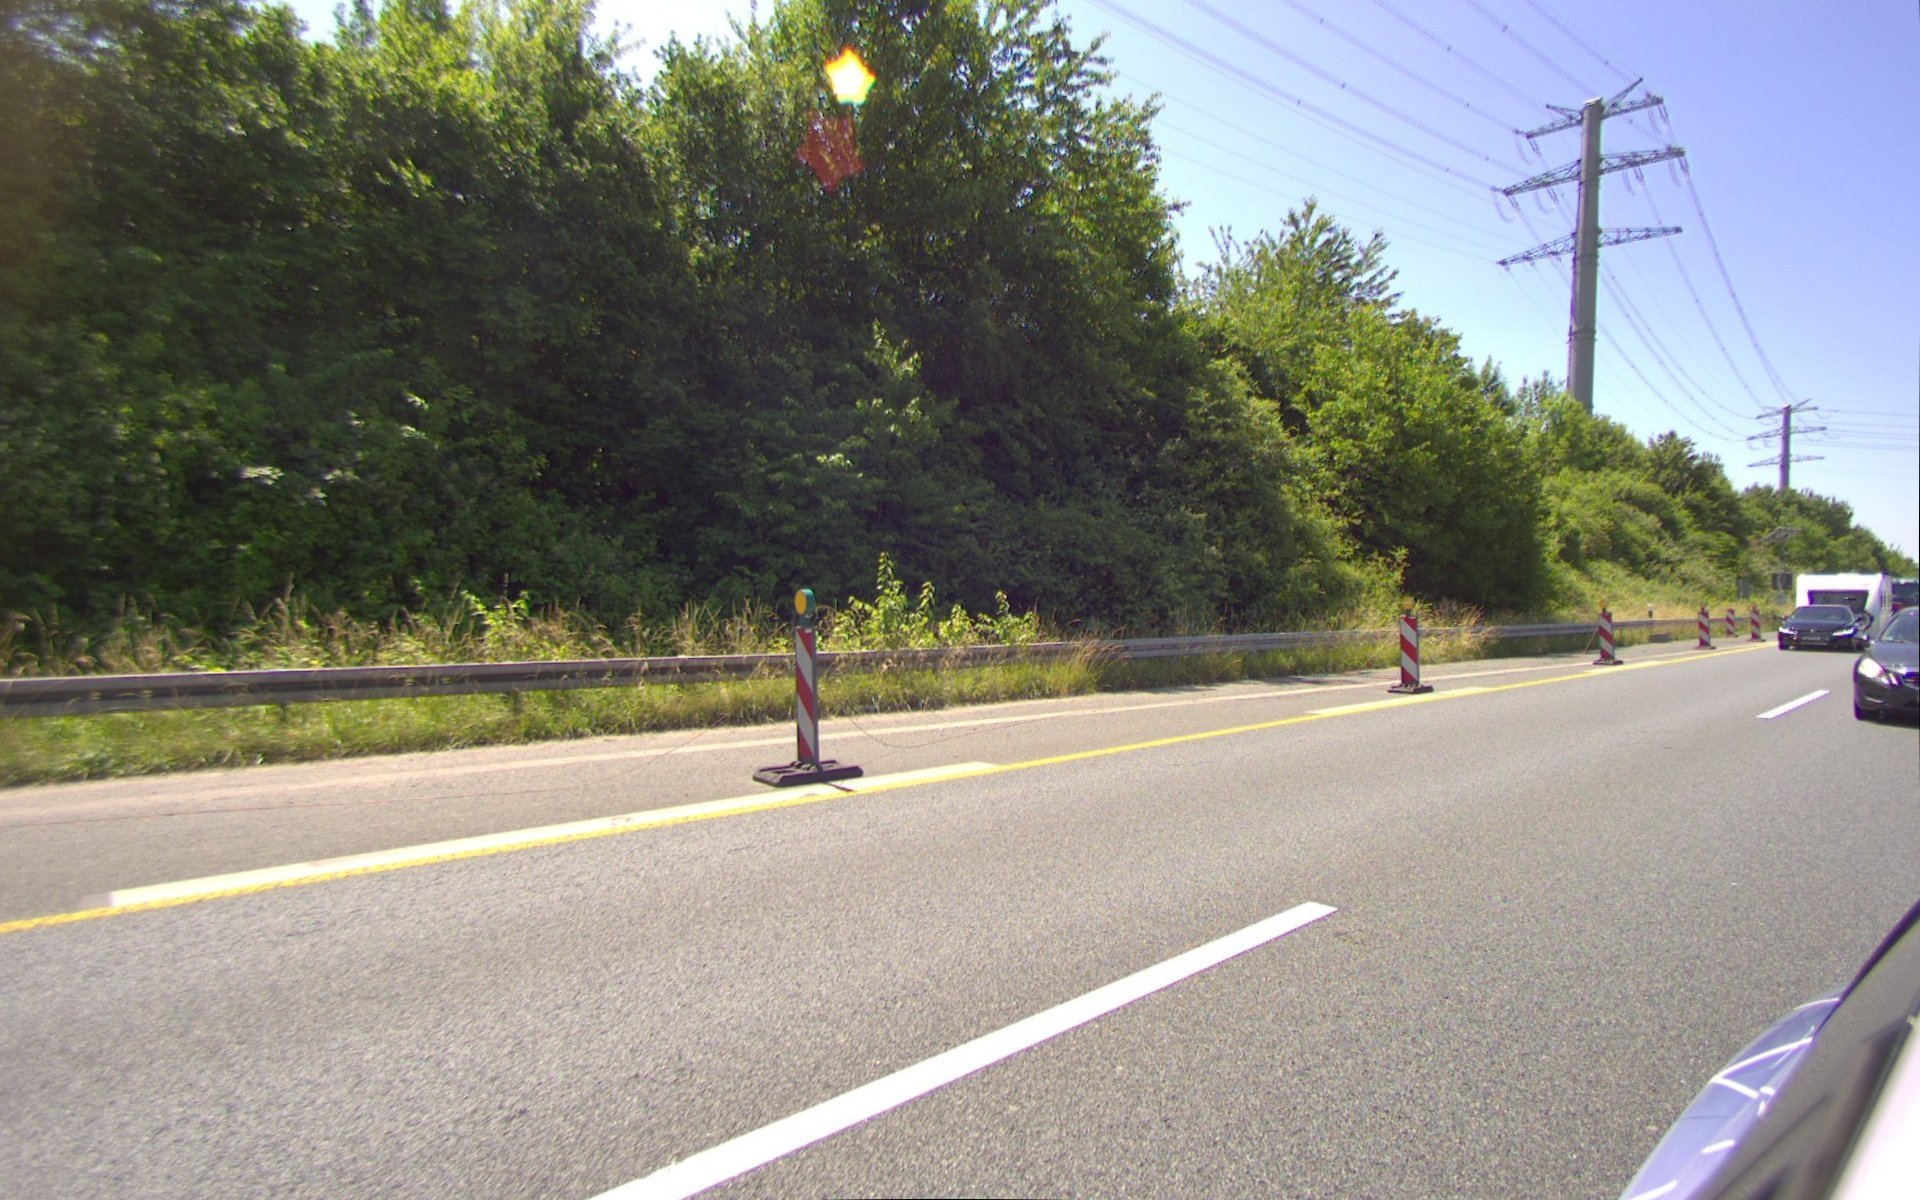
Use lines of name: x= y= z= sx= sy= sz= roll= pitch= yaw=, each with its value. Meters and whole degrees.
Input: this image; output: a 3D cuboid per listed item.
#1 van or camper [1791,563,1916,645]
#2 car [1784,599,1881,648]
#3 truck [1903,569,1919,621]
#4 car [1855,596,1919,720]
van or camper: x=31.840 y=0.108 z=35.941 sx=8.272 sy=2.597 sz=2.429 roll=0 pitch=0 yaw=-42
car: x=27.323 y=0.683 z=31.641 sx=4.137 sy=1.425 sz=1.799 roll=0 pitch=0 yaw=-42
truck: x=62.105 y=-0.336 z=64.154 sx=7.512 sy=3.181 sz=2.429 roll=0 pitch=-2 yaw=-40
car: x=12.974 y=0.687 z=12.980 sx=3.931 sy=1.459 sz=1.797 roll=0 pitch=0 yaw=-42
